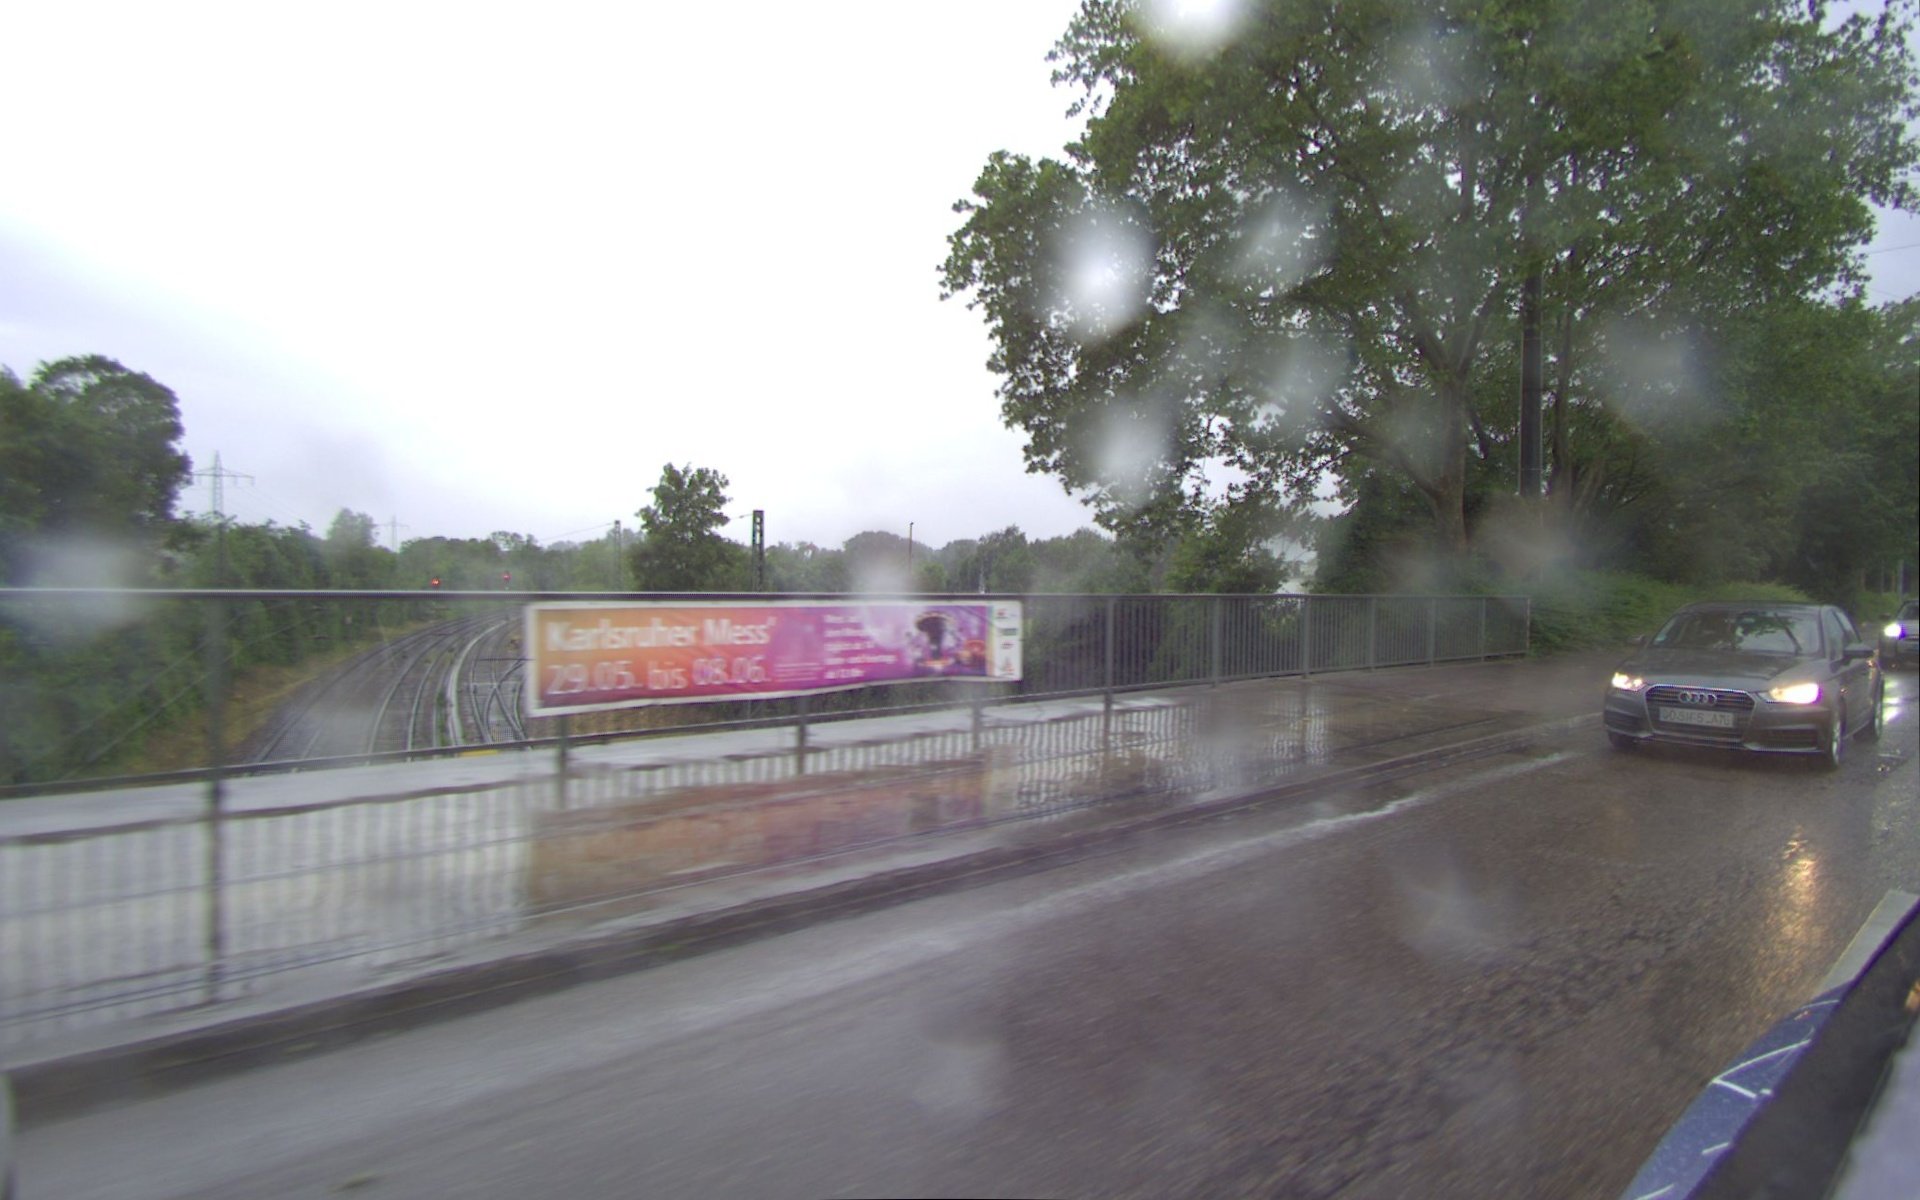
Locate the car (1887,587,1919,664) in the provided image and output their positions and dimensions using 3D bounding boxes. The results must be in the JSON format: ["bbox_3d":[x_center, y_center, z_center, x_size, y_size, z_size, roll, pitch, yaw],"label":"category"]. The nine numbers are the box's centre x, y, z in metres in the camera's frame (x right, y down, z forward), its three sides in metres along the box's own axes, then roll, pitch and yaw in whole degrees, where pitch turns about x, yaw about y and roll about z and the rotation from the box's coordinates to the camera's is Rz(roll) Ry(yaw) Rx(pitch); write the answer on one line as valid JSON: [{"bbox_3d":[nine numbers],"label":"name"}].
[{"bbox_3d":[19.965,0.479,20.230,3.788,1.431,1.794,-1,1,-42],"label":"car"}]

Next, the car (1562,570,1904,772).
[{"bbox_3d":[7.592,0.559,9.811,3.922,1.548,1.970,1,0,-42],"label":"car"}]
